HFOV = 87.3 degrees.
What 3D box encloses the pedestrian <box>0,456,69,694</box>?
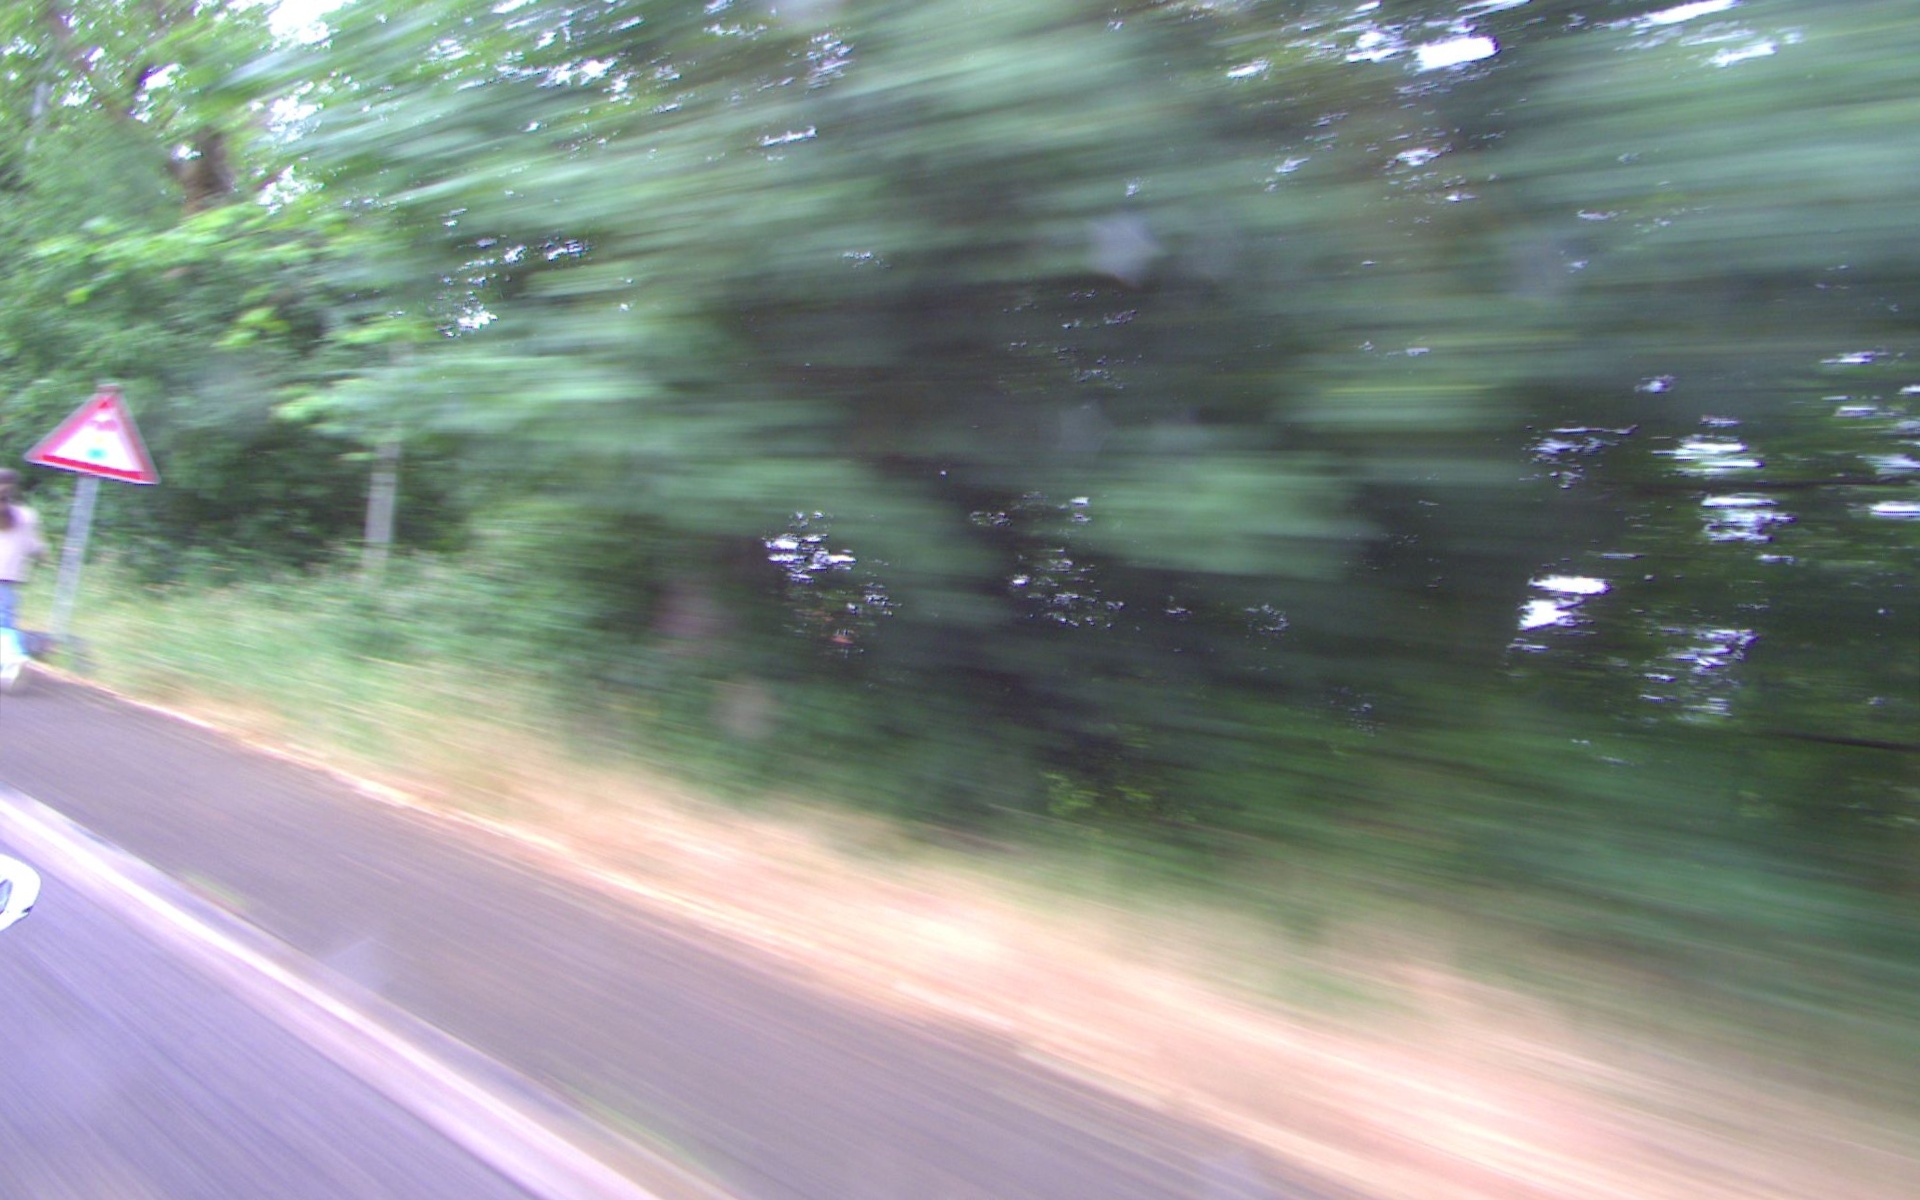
[{"bbox_3d":[-6.909,-0.198,7.078,0.659,1.630,0.643,6,-1,31],"label":"pedestrian"}]
